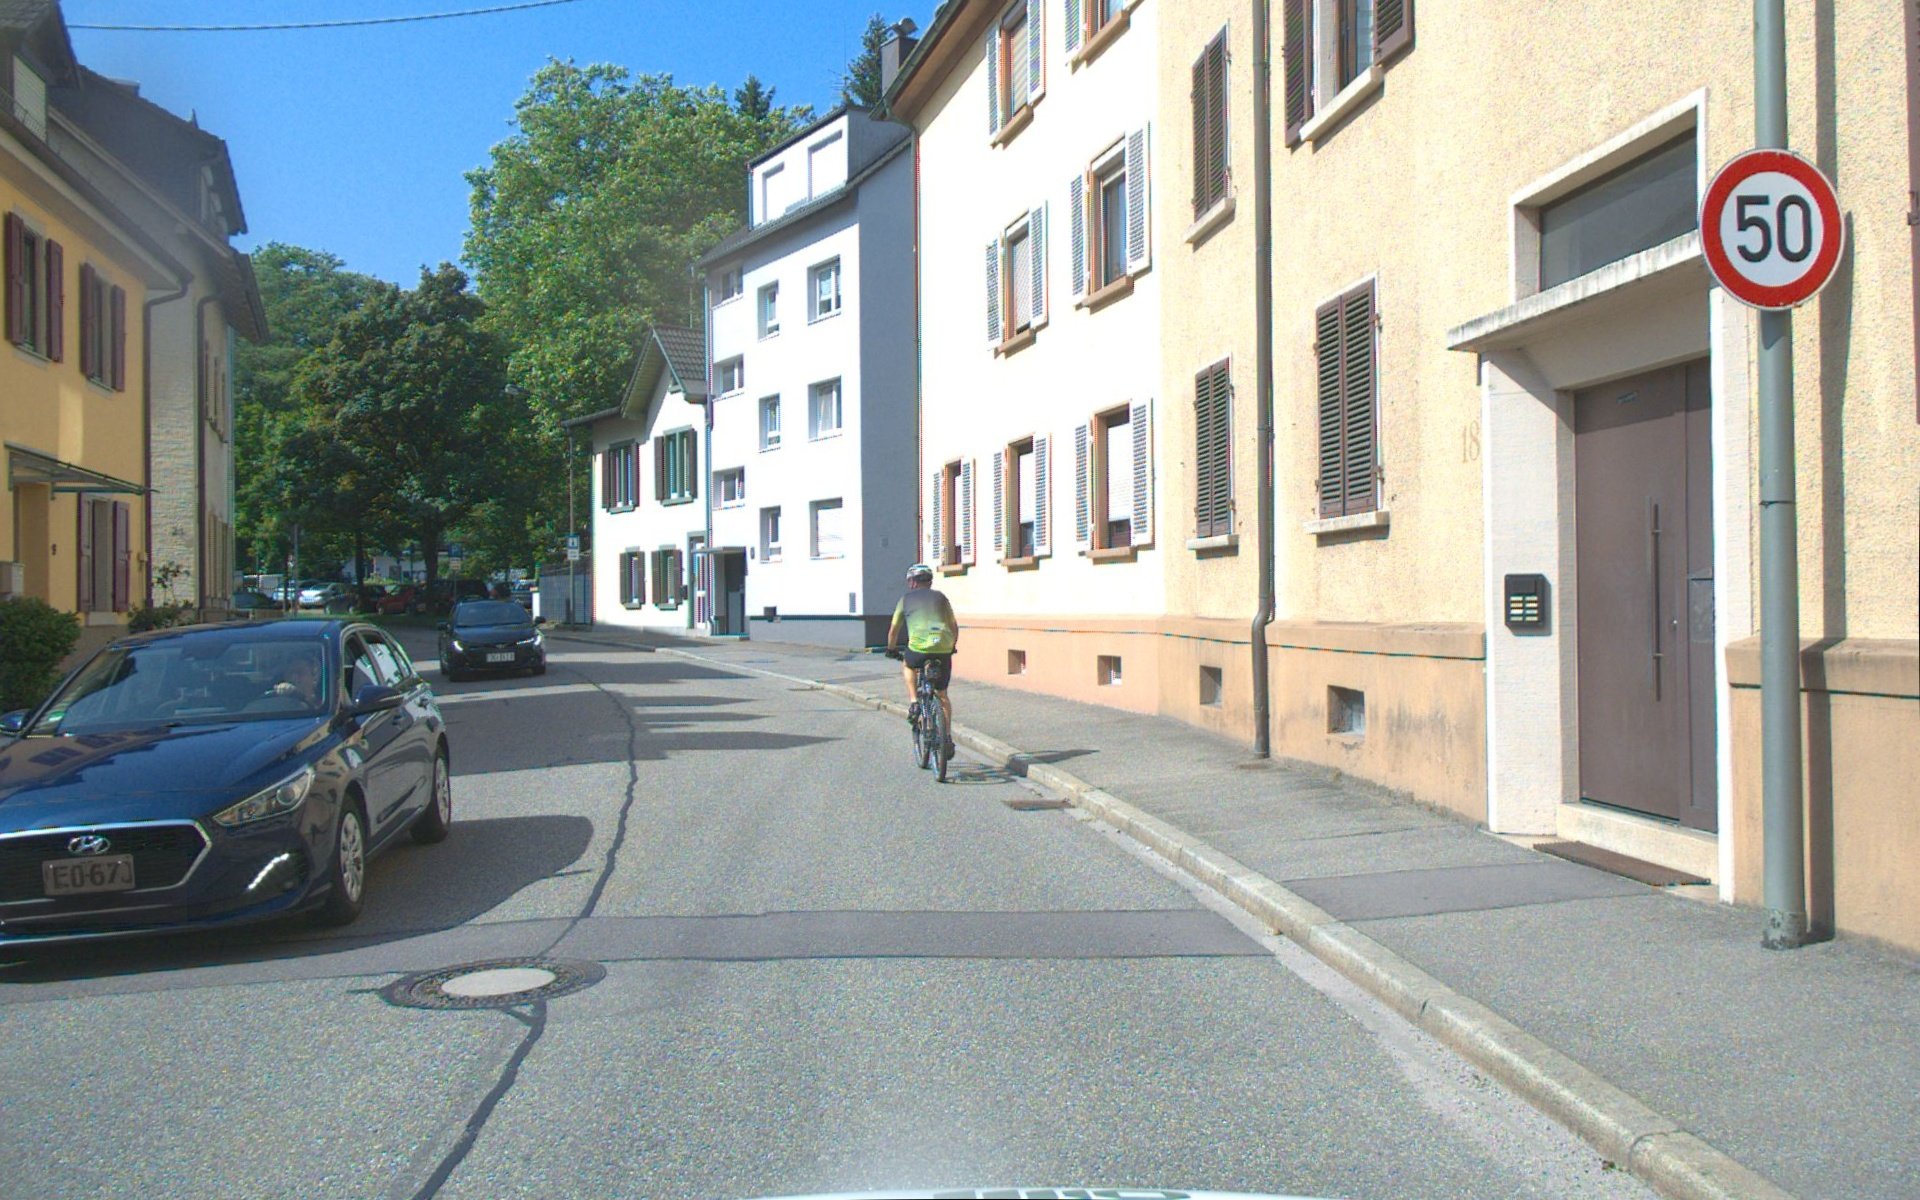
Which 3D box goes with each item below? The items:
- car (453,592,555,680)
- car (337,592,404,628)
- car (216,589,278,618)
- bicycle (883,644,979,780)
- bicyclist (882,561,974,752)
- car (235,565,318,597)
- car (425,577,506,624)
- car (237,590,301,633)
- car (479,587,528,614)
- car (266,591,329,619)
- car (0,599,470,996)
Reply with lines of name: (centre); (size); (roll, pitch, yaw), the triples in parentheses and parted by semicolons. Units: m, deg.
car: (-8.703, 0.633, 31.829); (1.631, 1.474, 4.244); (-4, 1, -13)
car: (-28.014, 0.448, 78.529); (1.699, 1.569, 3.941); (-2, 2, -40)
car: (-38.319, 0.185, 88.855); (3.345, 1.493, 1.670); (0, 0, 39)
bicycle: (-0.266, 0.925, 14.108); (0.685, 1.053, 1.469); (1, 0, -6)
bicyclist: (-0.277, 0.462, 14.018); (0.672, 1.558, 0.714); (-1, 0, -7)
car: (-41.013, -1.135, 99.325); (1.952, 1.887, 4.702); (0, 0, 20)
car: (-20.670, -0.025, 69.062); (1.812, 1.822, 3.941); (-2, 2, -41)
car: (-28.074, 0.444, 67.093); (1.806, 1.563, 3.959); (-5, 2, -30)
car: (-22.684, 0.022, 82.114); (1.564, 1.279, 3.822); (-2, 1, -27)
car: (-38.484, 0.256, 96.225); (1.771, 1.579, 4.003); (-1, 0, 5)
car: (-3.847, 0.827, 8.848); (1.716, 1.478, 4.019); (-5, 1, -9)
